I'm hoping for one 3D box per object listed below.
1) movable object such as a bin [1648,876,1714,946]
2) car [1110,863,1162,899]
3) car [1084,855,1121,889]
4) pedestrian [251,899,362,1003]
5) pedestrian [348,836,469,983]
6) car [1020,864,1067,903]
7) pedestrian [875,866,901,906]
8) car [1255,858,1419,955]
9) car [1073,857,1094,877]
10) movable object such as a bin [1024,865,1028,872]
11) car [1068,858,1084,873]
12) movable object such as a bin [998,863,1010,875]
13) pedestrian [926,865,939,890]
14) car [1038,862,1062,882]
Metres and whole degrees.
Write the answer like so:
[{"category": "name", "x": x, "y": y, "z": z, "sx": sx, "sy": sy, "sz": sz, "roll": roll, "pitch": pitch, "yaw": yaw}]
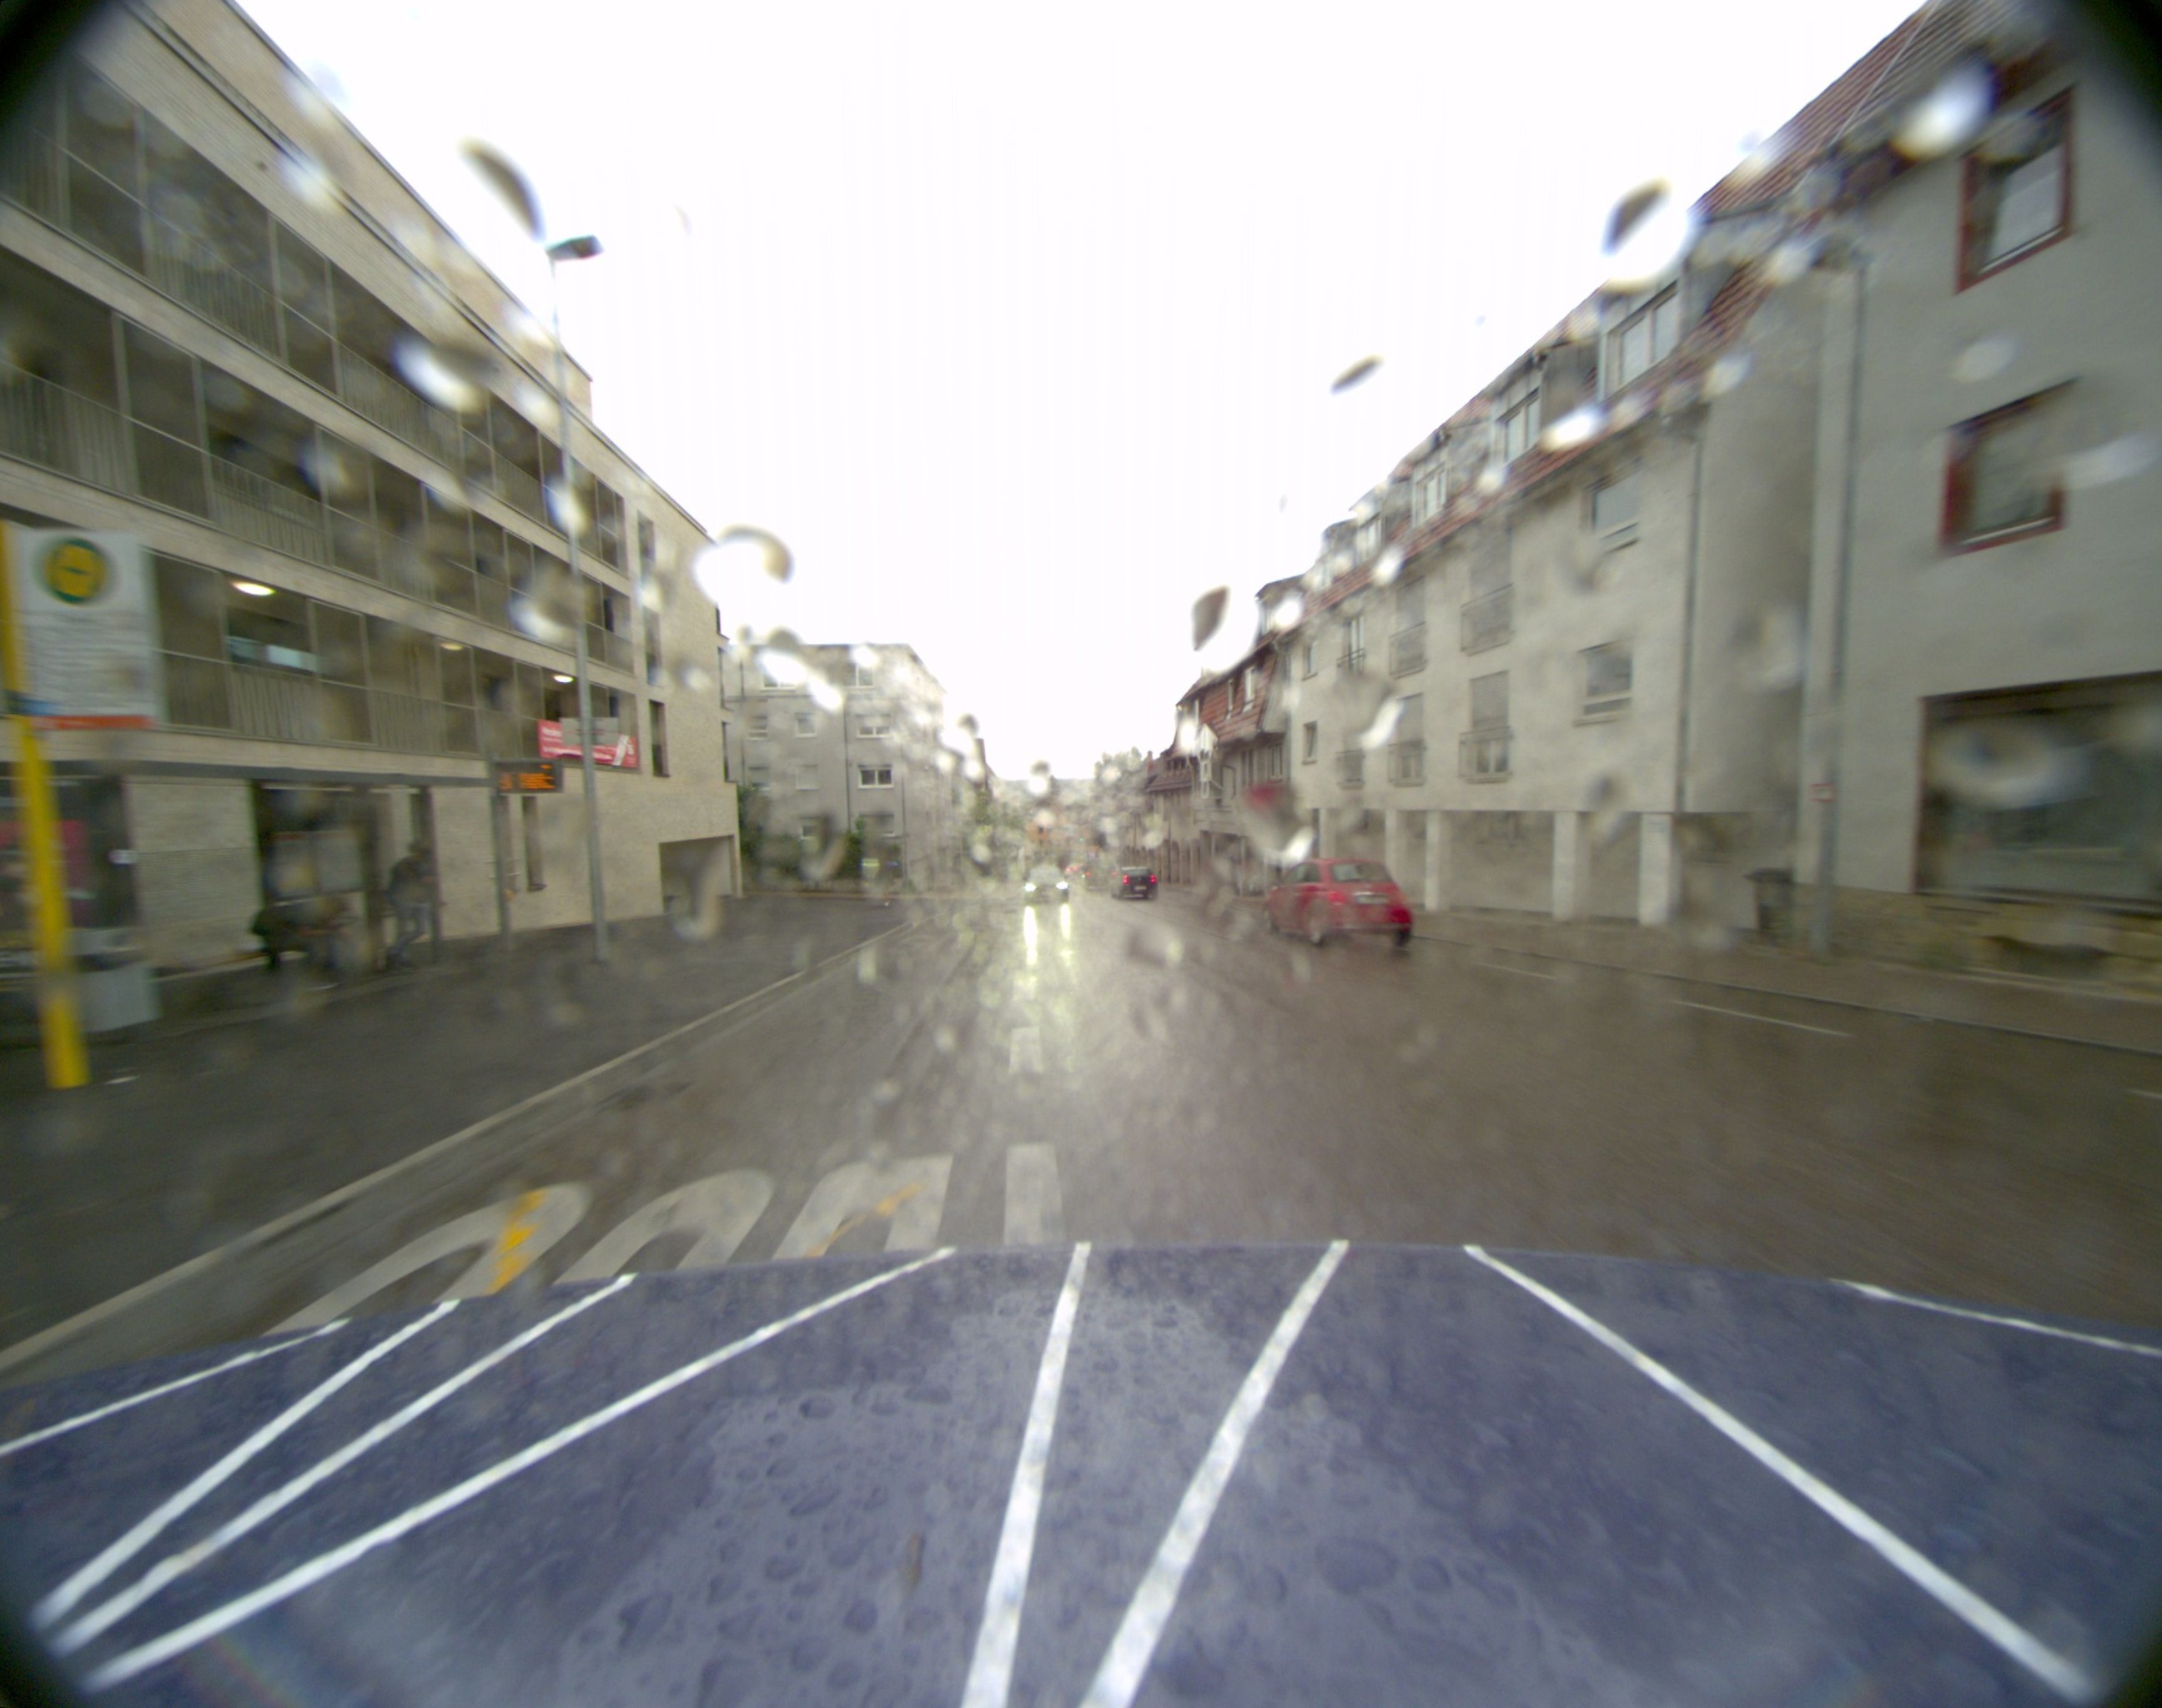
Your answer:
[{"category": "movable object such as a bin", "x": 9.133, "y": 0.857, "z": 11.582, "sx": 0.509, "sy": 1.000, "sz": 0.585, "roll": -2, "pitch": 0, "yaw": -7}, {"category": "car", "x": 2.385, "y": 1.157, "z": 34.018, "sx": 1.693, "sy": 1.435, "sz": 3.908, "roll": -1, "pitch": 0, "yaw": -5}, {"category": "car", "x": 1.260, "y": 1.055, "z": 46.880, "sx": 1.937, "sy": 1.896, "sz": 5.042, "roll": -1, "pitch": 0, "yaw": -2}, {"category": "pedestrian", "x": -9.234, "y": 1.140, "z": 9.080, "sx": 0.674, "sy": 1.155, "sz": 0.635, "roll": 0, "pitch": 0, "yaw": -3}, {"category": "pedestrian", "x": -9.249, "y": 0.726, "z": 10.498, "sx": 0.784, "sy": 1.929, "sz": 1.021, "roll": 0, "pitch": 0, "yaw": -3}, {"category": "car", "x": -1.652, "y": 1.273, "z": 34.309, "sx": 1.968, "sy": 1.549, "sz": 4.622, "roll": -1, "pitch": 0, "yaw": -2}, {"category": "pedestrian", "x": -7.676, "y": 1.258, "z": 30.215, "sx": 0.737, "sy": 1.533, "sz": 1.038, "roll": 2, "pitch": 0, "yaw": 0}, {"category": "car", "x": 4.460, "y": 0.837, "z": 13.757, "sx": 1.564, "sy": 1.527, "sz": 3.447, "roll": 0, "pitch": 0, "yaw": -5}, {"category": "car", "x": 0.184, "y": 1.178, "z": 70.289, "sx": 1.787, "sy": 1.684, "sz": 4.459, "roll": -1, "pitch": 0, "yaw": -2}, {"category": "movable object such as a bin", "x": -7.503, "y": 1.978, "z": 103.900, "sx": 0.597, "sy": 1.022, "sz": 0.476, "roll": 1, "pitch": 0, "yaw": -1}, {"category": "car", "x": -0.602, "y": 1.269, "z": 84.956, "sx": 1.681, "sy": 1.501, "sz": 3.588, "roll": -1, "pitch": 0, "yaw": -2}, {"category": "movable object such as a bin", "x": -8.614, "y": 1.732, "z": 85.366, "sx": 1.238, "sy": 1.327, "sz": 1.172, "roll": 0, "pitch": 0, "yaw": -1}, {"category": "pedestrian", "x": -9.251, "y": 1.447, "z": 47.292, "sx": 0.692, "sy": 1.546, "sz": 0.710, "roll": -2, "pitch": 0, "yaw": -9}, {"category": "car", "x": -2.729, "y": 1.597, "z": 67.424, "sx": 1.967, "sy": 1.598, "sz": 4.384, "roll": -1, "pitch": -1, "yaw": -1}]
